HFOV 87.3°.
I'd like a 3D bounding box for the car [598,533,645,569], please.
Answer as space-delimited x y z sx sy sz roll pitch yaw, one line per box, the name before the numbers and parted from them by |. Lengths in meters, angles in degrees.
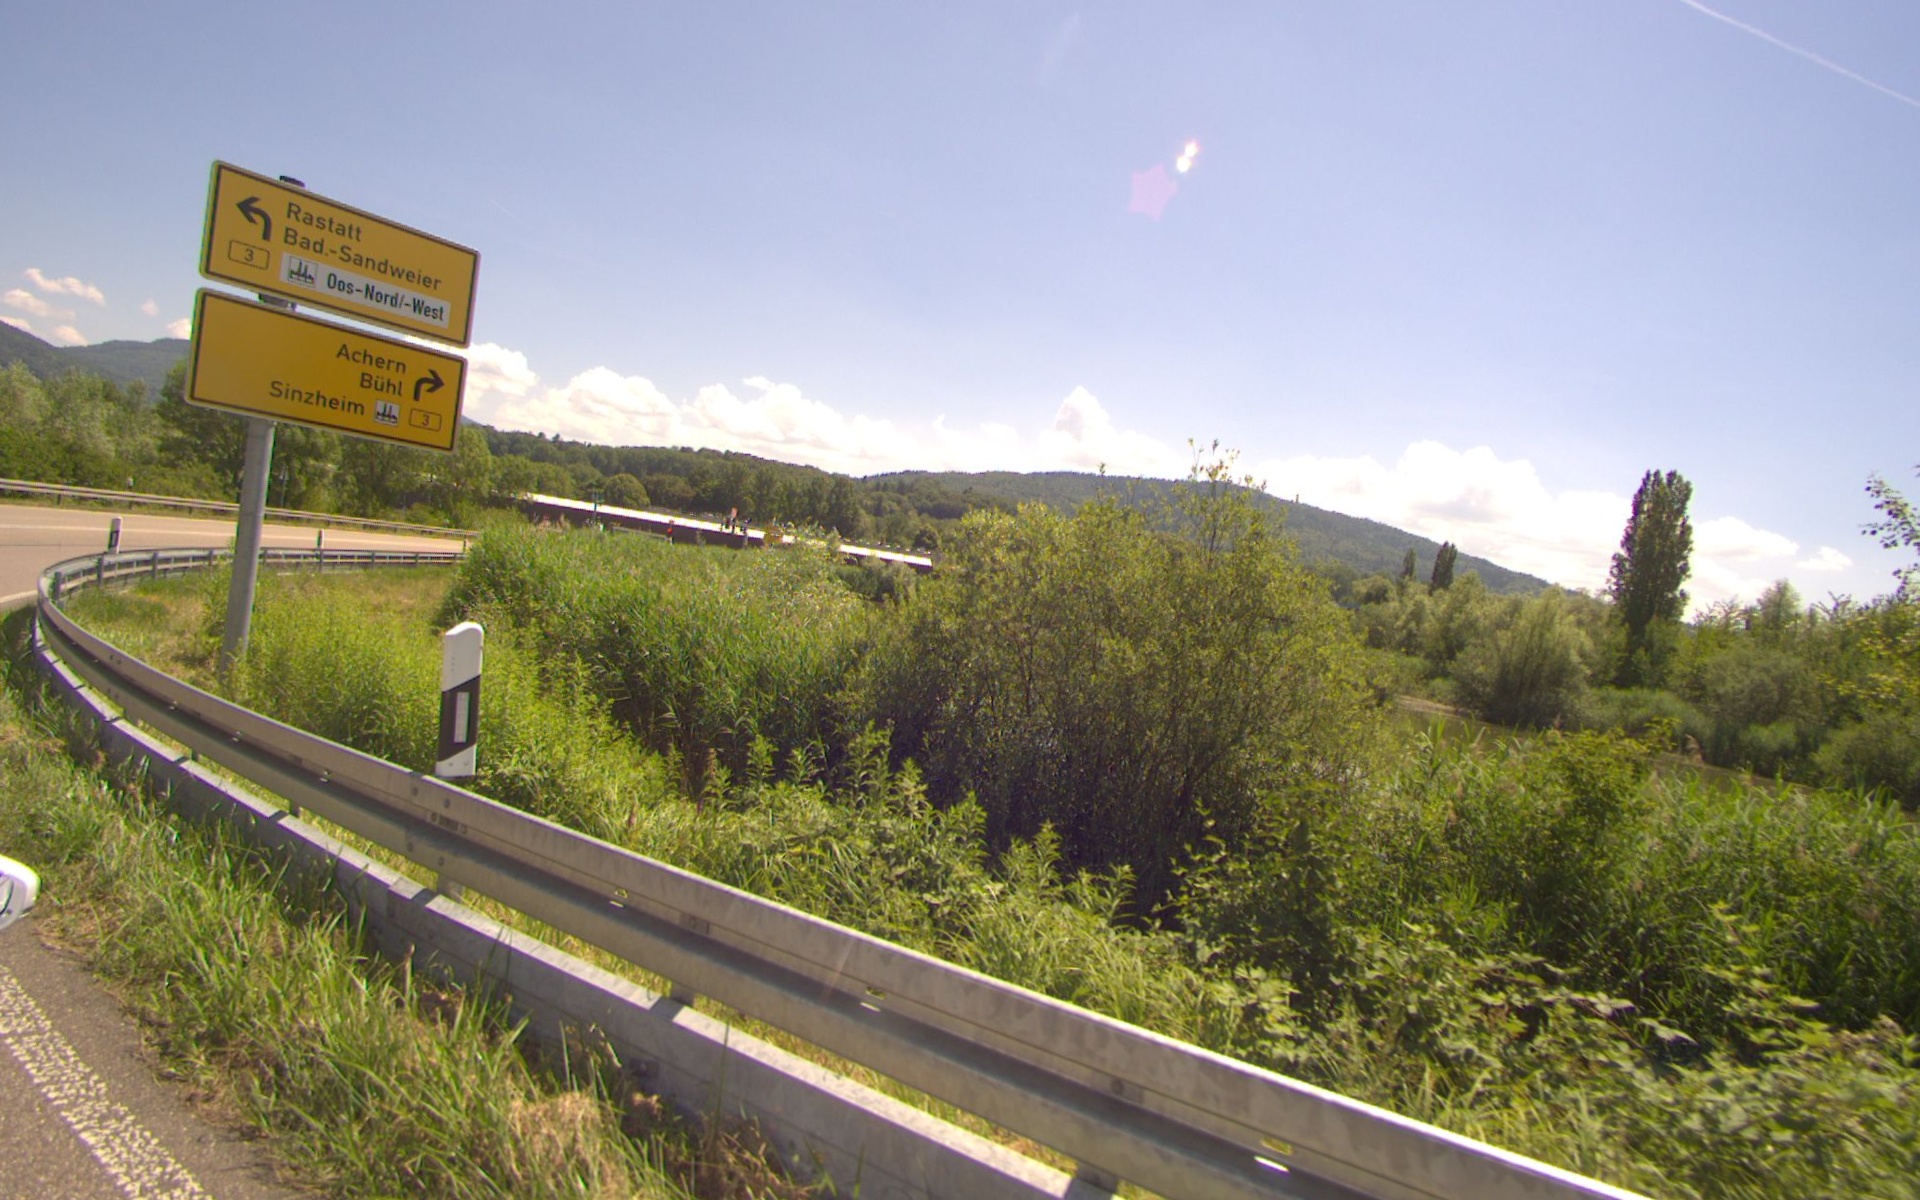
car | -22.885 -3.283 68.188 1.844 1.988 3.995 9 1 -4
